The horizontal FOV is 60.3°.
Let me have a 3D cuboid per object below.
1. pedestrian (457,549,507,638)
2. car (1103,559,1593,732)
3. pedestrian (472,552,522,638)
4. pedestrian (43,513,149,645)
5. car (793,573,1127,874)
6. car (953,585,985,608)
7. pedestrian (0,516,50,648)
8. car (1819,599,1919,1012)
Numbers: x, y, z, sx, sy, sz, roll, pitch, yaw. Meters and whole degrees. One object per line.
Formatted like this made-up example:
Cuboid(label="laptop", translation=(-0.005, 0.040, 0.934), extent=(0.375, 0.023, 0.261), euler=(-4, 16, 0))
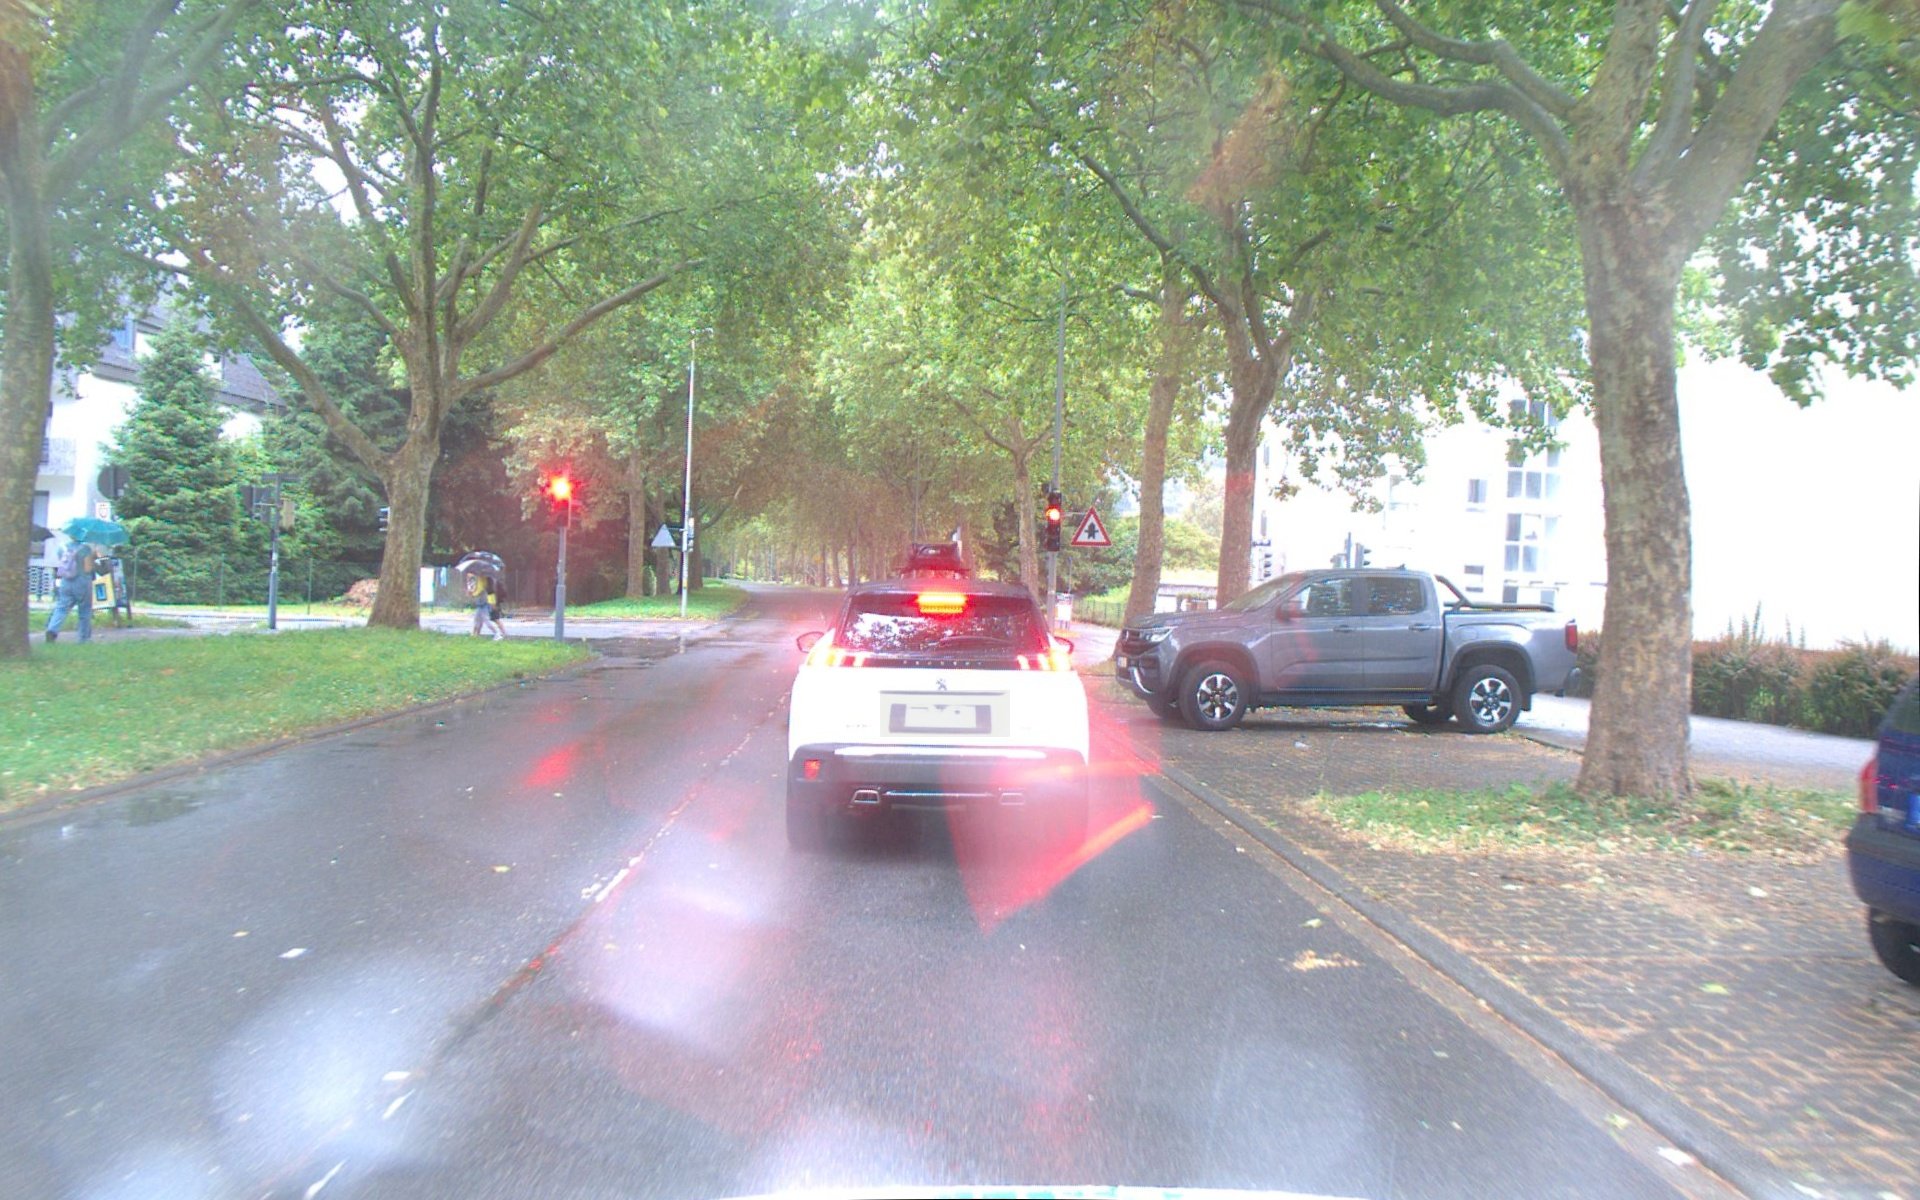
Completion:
Cuboid(label="pedestrian", translation=(-9.816, -0.141, 33.971), extent=(0.804, 1.775, 0.639), euler=(2, 0, -4))
Cuboid(label="car", translation=(4.431, 0.509, 19.239), extent=(5.238, 1.838, 1.842), euler=(1, 1, -8))
Cuboid(label="pedestrian", translation=(-9.732, -0.105, 34.805), extent=(0.842, 1.775, 0.639), euler=(2, 0, -4))
Cuboid(label="pedestrian", translation=(-12.071, -0.291, 23.127), extent=(1.012, 1.796, 0.838), euler=(1, 1, -1))
Cuboid(label="car", translation=(-0.038, 0.627, 10.799), extent=(1.744, 1.563, 4.057), euler=(1, 1, -1))
Cuboid(label="car", translation=(0.586, -0.249, 115.023), extent=(1.868, 1.536, 3.928), euler=(2, 1, -5))
Cuboid(label="pedestrian", translation=(-13.441, -0.261, 23.031), extent=(1.012, 1.796, 0.879), euler=(1, 1, -1))
Cuboid(label="car", translation=(5.148, 0.797, 5.924), extent=(3.288, 1.489, 1.618), euler=(2, 1, -3))
